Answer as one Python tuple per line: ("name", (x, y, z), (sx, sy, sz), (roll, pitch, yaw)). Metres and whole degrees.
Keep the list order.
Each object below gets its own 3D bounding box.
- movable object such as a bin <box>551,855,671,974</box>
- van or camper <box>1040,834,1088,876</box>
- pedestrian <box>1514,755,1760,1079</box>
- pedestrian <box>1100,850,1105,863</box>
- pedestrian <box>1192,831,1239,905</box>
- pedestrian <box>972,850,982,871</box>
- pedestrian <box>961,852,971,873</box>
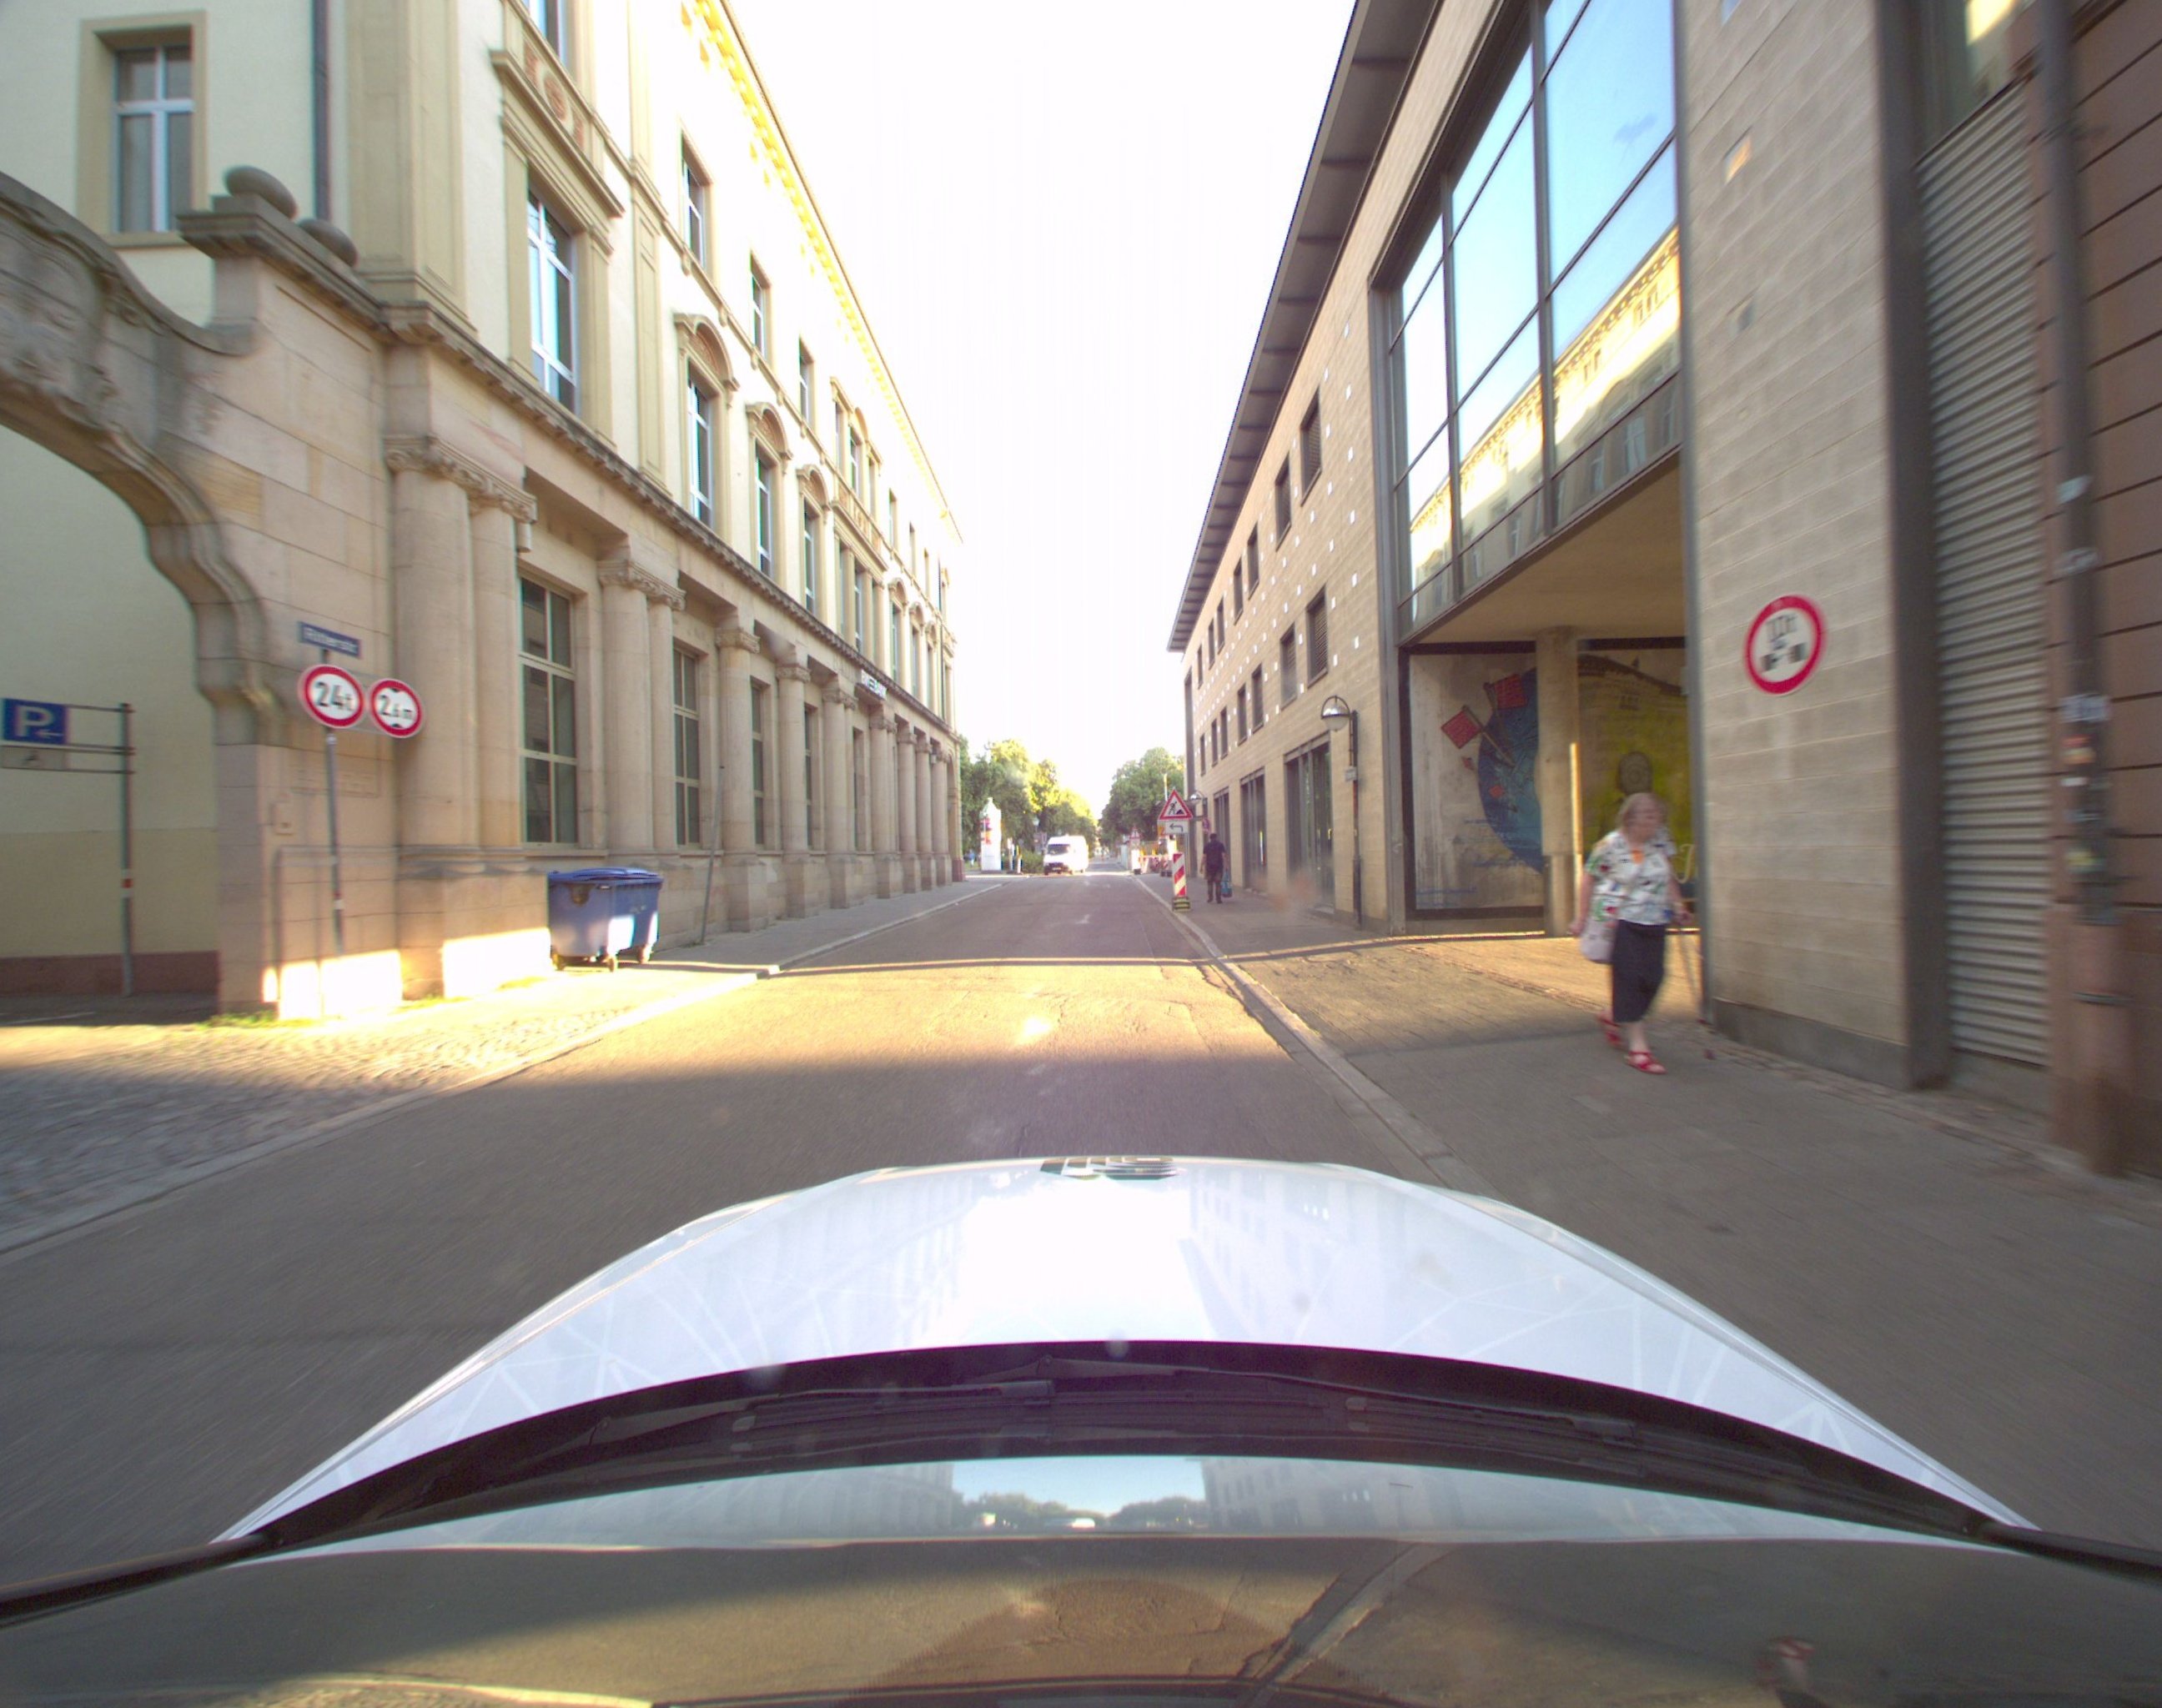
("movable object such as a bin", (-6.418, 0.786, 11.198), (0.825, 1.503, 1.292), (-1, 0, 2))
("van or camper", (-1.021, 0.025, 54.377), (2.207, 2.585, 6.385), (-2, 0, 7))
("pedestrian", (3.423, 0.368, 5.127), (0.841, 1.803, 0.898), (-4, -1, 6))
("pedestrian", (3.176, 0.369, 118.983), (0.580, 2.013, 0.680), (-1, 0, -7))
("pedestrian", (3.432, 0.355, 20.848), (0.997, 1.803, 0.882), (-3, -1, 0))
("pedestrian", (-9.135, 0.569, 71.428), (0.850, 1.807, 0.661), (-1, 0, -12))
("pedestrian", (-10.063, 0.729, 71.222), (0.850, 1.807, 0.661), (-1, 0, -12))
